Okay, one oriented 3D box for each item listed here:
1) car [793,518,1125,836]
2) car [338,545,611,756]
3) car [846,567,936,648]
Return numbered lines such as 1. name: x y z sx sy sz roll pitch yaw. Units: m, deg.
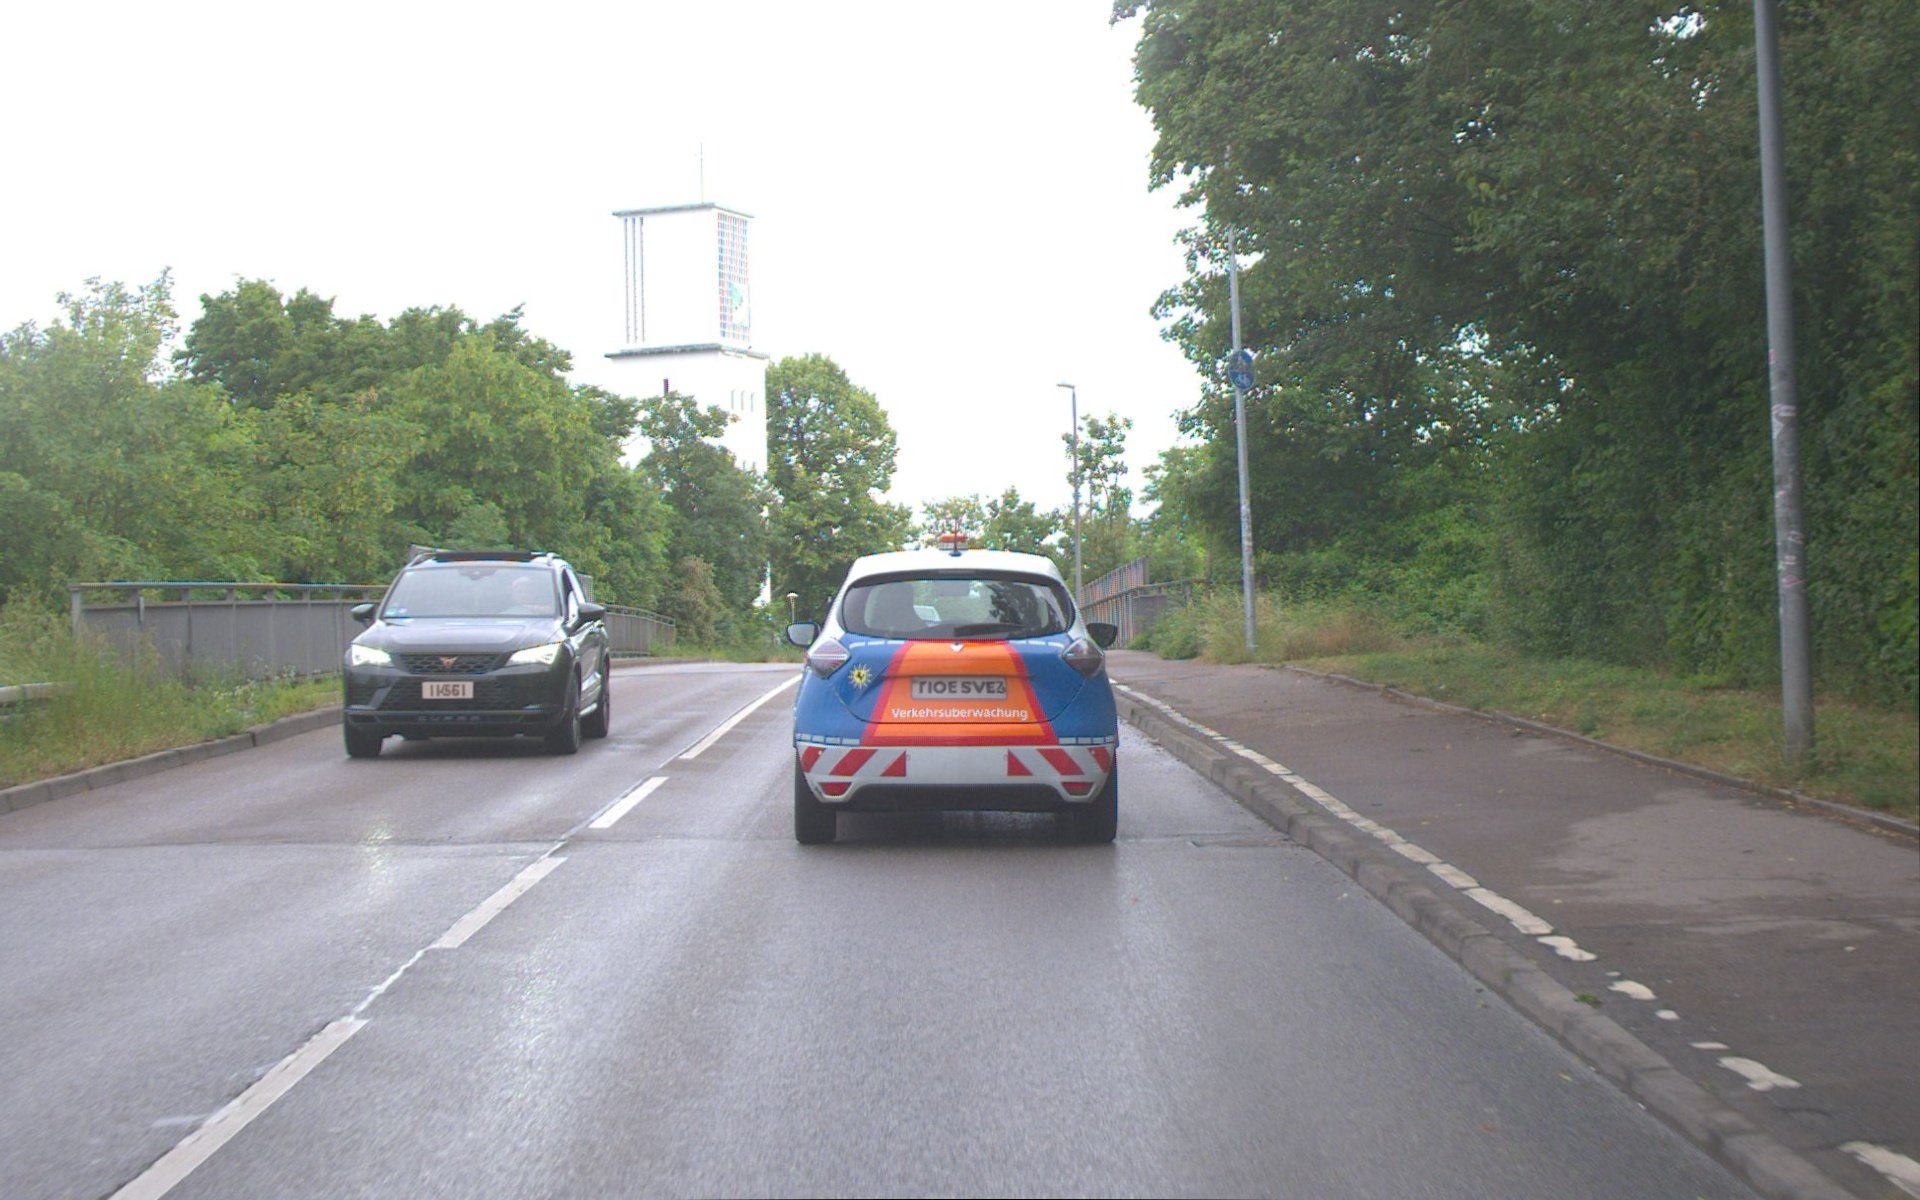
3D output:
1. car: -0.025 0.385 19.198 1.657 1.587 3.568 -1 0 -1
2. car: -3.931 0.356 28.428 1.730 1.580 4.081 -1 1 -1
3. car: -1.445 0.137 73.010 1.802 1.584 3.563 -2 1 0
